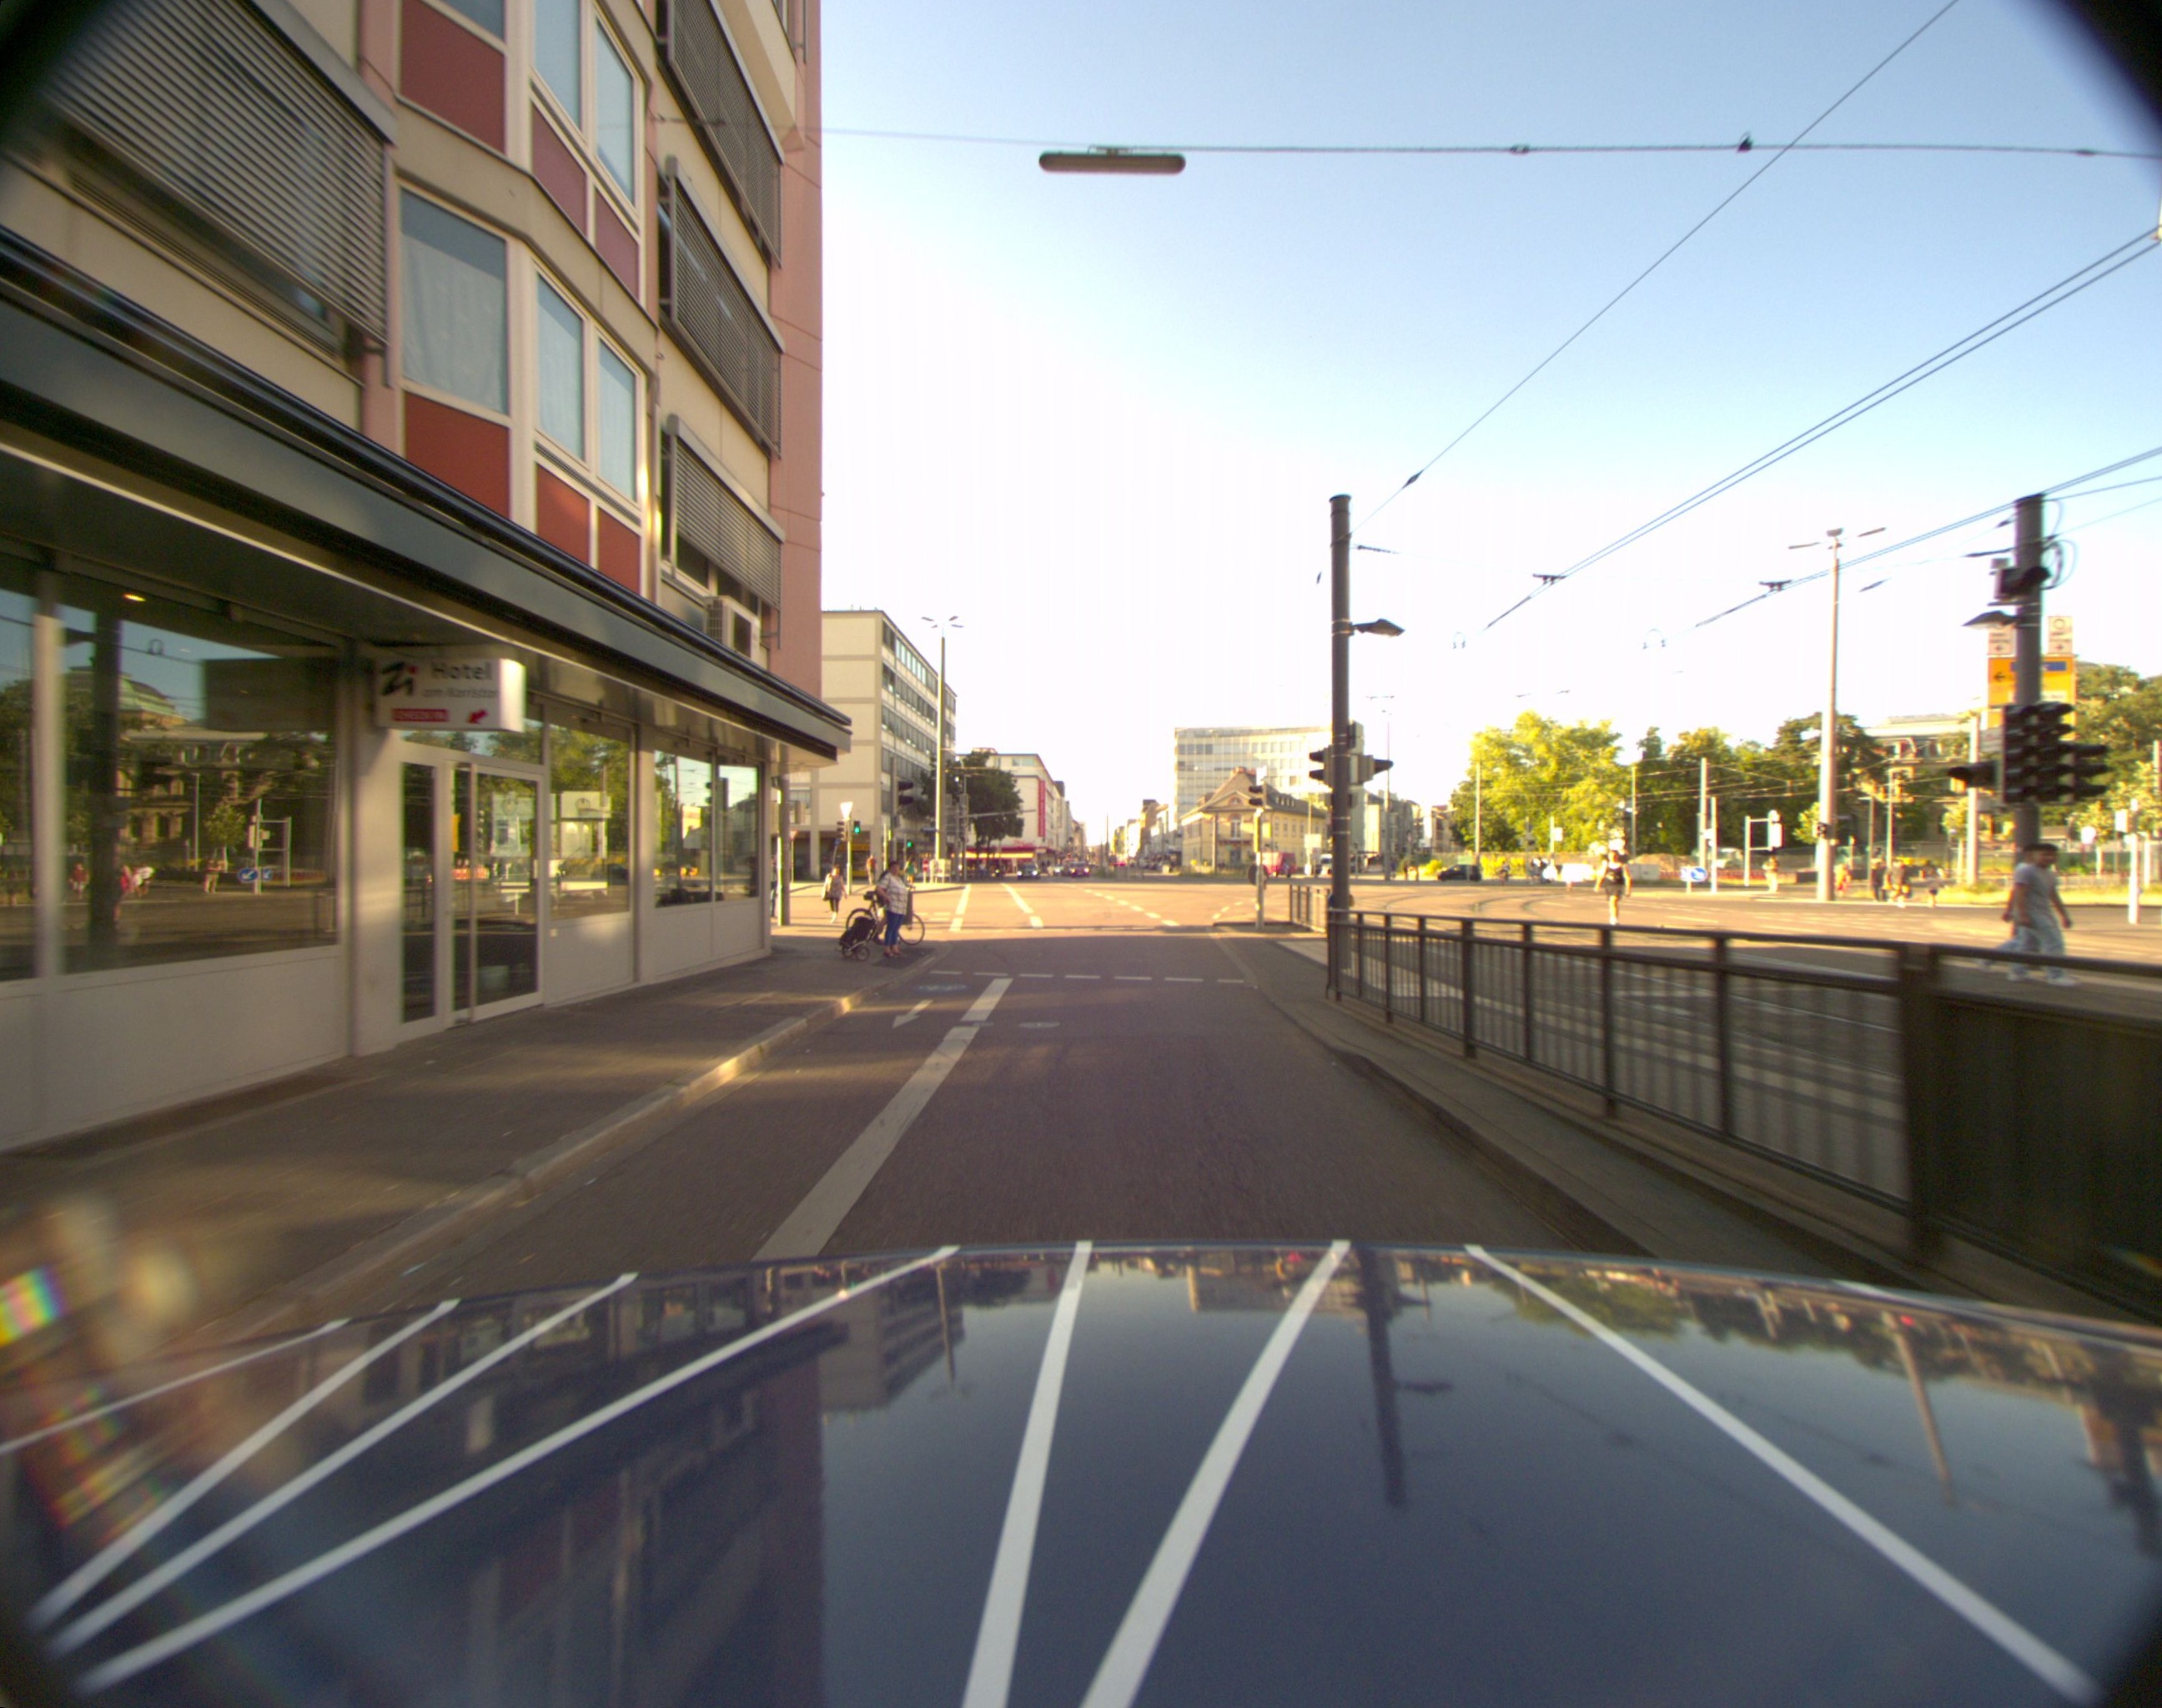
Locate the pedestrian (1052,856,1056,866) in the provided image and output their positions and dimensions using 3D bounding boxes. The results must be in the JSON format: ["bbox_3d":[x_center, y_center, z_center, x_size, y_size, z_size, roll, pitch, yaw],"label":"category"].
[{"bbox_3d":[-3.844,0.953,107.522,0.597,1.434,0.613,0,0,-2],"label":"pedestrian"}]

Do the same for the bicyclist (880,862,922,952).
[{"bbox_3d":[-3.455,0.995,14.594,0.637,1.668,0.768,0,1,-3],"label":"bicyclist"}]

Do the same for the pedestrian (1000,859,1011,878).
[{"bbox_3d":[-6.767,1.304,68.236,0.860,1.700,1.051,-1,0,-4],"label":"pedestrian"}]

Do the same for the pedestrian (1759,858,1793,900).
[{"bbox_3d":[33.860,1.206,37.044,0.811,2.002,0.860,-3,1,-13],"label":"pedestrian"}]

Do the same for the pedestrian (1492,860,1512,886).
[{"bbox_3d":[33.644,1.531,60.738,1.073,2.002,0.989,-3,1,5],"label":"pedestrian"}]

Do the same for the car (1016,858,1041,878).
[{"bbox_3d":[-4.613,1.207,67.876,1.972,1.664,4.875,-2,-1,-2],"label":"car"}]

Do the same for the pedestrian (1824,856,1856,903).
[{"bbox_3d":[33.329,1.121,33.370,0.813,2.002,0.858,-3,1,-39],"label":"pedestrian"}]

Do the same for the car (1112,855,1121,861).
[{"bbox_3d":[10.583,1.248,226.434,1.972,1.664,4.874,-2,-1,-3],"label":"car"}]

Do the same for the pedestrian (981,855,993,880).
[{"bbox_3d":[-7.803,1.093,62.999,0.747,2.002,1.070,-3,1,-12],"label":"pedestrian"}]

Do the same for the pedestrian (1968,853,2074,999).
[{"bbox_3d":[12.189,0.887,9.868,0.862,1.756,0.809,-3,1,-39],"label":"pedestrian"}]

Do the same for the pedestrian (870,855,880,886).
[{"bbox_3d":[-11.661,0.935,42.986,0.407,1.708,0.394,-3,1,-24],"label":"pedestrian"}]

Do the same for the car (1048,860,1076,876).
[{"bbox_3d":[-2.143,1.601,84.694,1.974,1.664,4.869,-1,-1,-16],"label":"car"}]

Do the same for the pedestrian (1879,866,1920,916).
[{"bbox_3d":[29.749,1.327,27.619,0.858,1.756,0.813,-2,1,38],"label":"pedestrian"}]

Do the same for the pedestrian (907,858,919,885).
[{"bbox_3d":[-9.295,0.967,42.023,0.597,1.434,0.613,-3,1,-10],"label":"pedestrian"}]

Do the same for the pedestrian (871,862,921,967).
[{"bbox_3d":[-3.057,0.982,12.583,0.637,1.652,0.768,3,0,-8],"label":"pedestrian"}]

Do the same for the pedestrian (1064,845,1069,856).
[{"bbox_3d":[-1.942,-0.499,104.617,0.597,1.434,0.613,0,0,-11],"label":"pedestrian"}]

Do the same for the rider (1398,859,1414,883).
[{"bbox_3d":[27.410,1.443,64.016,1.011,2.002,0.991,-2,1,35],"label":"rider"}]

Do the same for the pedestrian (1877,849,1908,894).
[{"bbox_3d":[36.972,0.802,34.632,0.813,2.002,0.858,-3,1,-39],"label":"pedestrian"}]

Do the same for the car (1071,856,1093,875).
[{"bbox_3d":[0.134,1.043,71.239,1.971,1.664,4.876,-2,-1,1],"label":"car"}]

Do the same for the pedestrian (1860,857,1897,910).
[{"bbox_3d":[31.098,1.152,29.644,0.858,2.002,0.813,-2,1,38],"label":"pedestrian"}]

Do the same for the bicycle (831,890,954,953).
[{"bbox_3d":[-3.588,1.282,14.596,2.175,1.117,0.768,0,1,-3],"label":"bicycle"}]

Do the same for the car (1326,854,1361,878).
[{"bbox_3d":[35.798,1.538,103.538,2.535,3.031,6.387,2,2,38],"label":"car"}]

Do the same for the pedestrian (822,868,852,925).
[{"bbox_3d":[-6.654,1.139,20.740,0.691,1.526,0.613,0,0,-10],"label":"pedestrian"}]

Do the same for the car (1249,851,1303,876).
[{"bbox_3d":[20.293,1.007,79.267,2.546,2.440,5.412,-1,0,-24],"label":"car"}]

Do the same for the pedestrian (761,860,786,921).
[{"bbox_3d":[-8.972,1.044,22.214,0.655,1.758,0.811,0,0,-21],"label":"pedestrian"}]

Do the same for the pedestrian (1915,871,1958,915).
[{"bbox_3d":[30.848,1.407,27.405,0.858,1.501,0.813,-2,1,38],"label":"pedestrian"}]

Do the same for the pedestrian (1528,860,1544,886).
[{"bbox_3d":[36.186,1.489,60.435,1.011,2.002,0.991,-2,1,35],"label":"pedestrian"}]

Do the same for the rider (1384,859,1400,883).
[{"bbox_3d":[26.565,1.468,64.909,1.011,2.002,1.022,-2,1,35],"label":"rider"}]

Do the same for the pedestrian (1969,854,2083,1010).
[{"bbox_3d":[11.496,0.900,9.276,0.862,1.756,0.809,-3,1,-40],"label":"pedestrian"}]

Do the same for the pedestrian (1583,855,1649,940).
[{"bbox_3d":[11.844,0.934,16.826,0.812,1.793,0.859,-3,1,-28],"label":"pedestrian"}]
